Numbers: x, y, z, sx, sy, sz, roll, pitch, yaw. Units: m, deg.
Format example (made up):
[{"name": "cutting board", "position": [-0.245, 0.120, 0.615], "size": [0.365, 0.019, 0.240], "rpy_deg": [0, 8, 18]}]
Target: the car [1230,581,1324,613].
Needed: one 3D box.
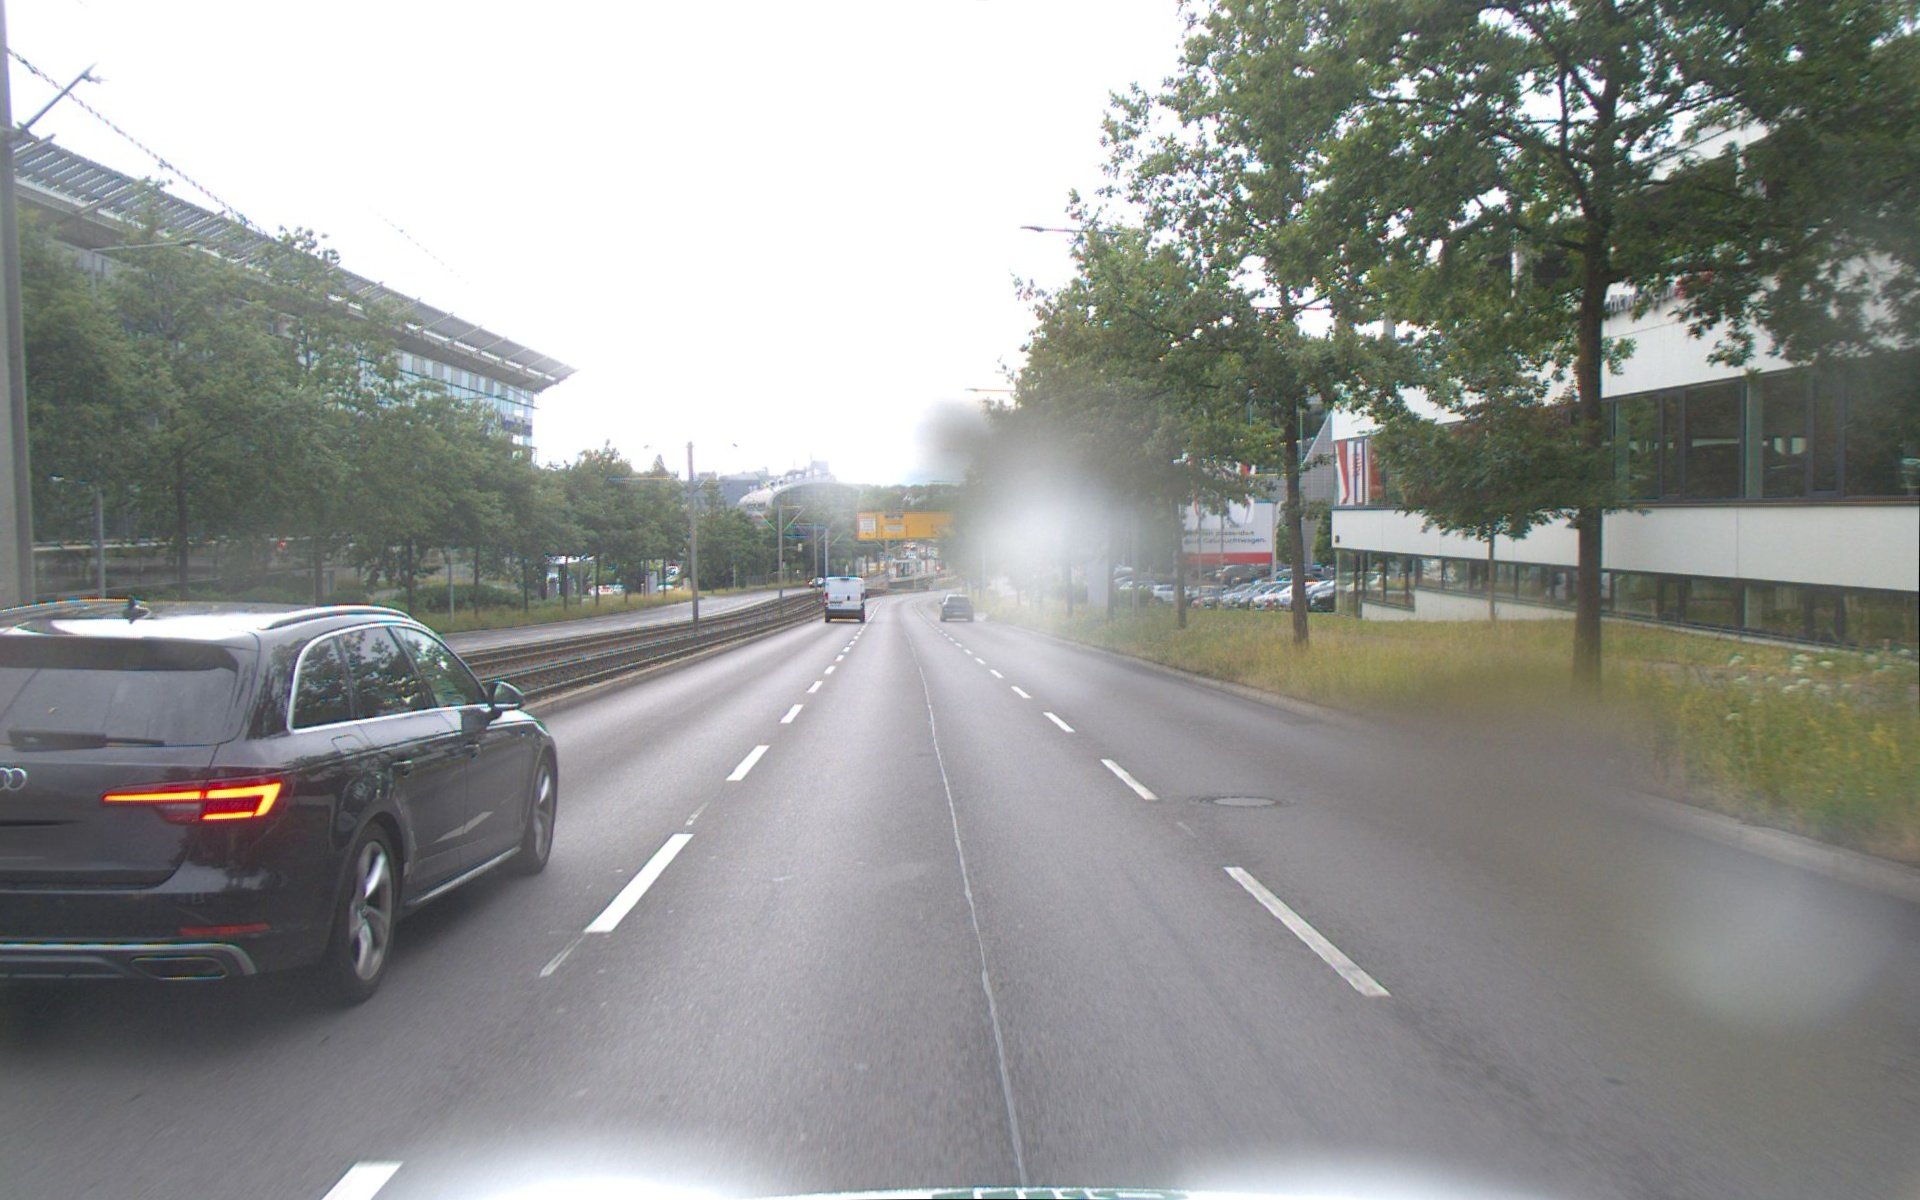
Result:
[{"name": "car", "position": [16.173, -0.158, 84.528], "size": [4.373, 1.481, 1.930], "rpy_deg": [-2, 0, -4]}]

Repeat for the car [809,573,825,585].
[{"name": "car", "position": [-20.298, -2.921, 234.450], "size": [1.844, 1.547, 4.403], "rpy_deg": [-3, 1, 0]}]

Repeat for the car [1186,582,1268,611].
[{"name": "car", "position": [15.522, -0.197, 96.230], "size": [4.377, 1.578, 1.928], "rpy_deg": [-1, 0, -8]}]

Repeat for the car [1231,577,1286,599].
[{"name": "car", "position": [23.975, -0.968, 132.891], "size": [4.024, 1.601, 1.691], "rpy_deg": [-1, 2, -4]}]

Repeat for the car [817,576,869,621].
[{"name": "car", "position": [-5.970, -0.054, 84.950], "size": [2.460, 2.215, 5.147], "rpy_deg": [1, 0, -2]}]

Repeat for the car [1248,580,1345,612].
[{"name": "car", "position": [16.560, -0.193, 81.515], "size": [4.373, 1.481, 1.930], "rpy_deg": [-1, 0, -4]}]

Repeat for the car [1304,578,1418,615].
[{"name": "car", "position": [16.783, -0.143, 69.316], "size": [4.235, 1.402, 1.835], "rpy_deg": [-2, 0, -5]}]

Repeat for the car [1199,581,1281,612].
[{"name": "car", "position": [15.759, -0.197, 93.153], "size": [4.193, 1.621, 1.825], "rpy_deg": [-1, 0, -5]}]

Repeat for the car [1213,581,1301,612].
[{"name": "car", "position": [16.196, -0.188, 90.317], "size": [4.373, 1.578, 1.930], "rpy_deg": [-2, 0, -4]}]

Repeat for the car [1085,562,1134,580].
[{"name": "car", "position": [13.334, -2.614, 147.967], "size": [4.175, 1.601, 1.691], "rpy_deg": [0, 1, -4]}]

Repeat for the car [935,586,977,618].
[{"name": "car", "position": [-0.247, 0.116, 90.037], "size": [1.982, 1.651, 3.996], "rpy_deg": [1, 0, -5]}]

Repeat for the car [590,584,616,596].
[{"name": "car", "position": [-47.698, -1.314, 220.949], "size": [1.976, 1.536, 3.953], "rpy_deg": [1, 0, -34]}]

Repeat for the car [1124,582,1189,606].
[{"name": "car", "position": [13.340, -0.387, 112.233], "size": [4.032, 1.622, 1.943], "rpy_deg": [0, -1, -11]}]

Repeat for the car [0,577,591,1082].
[{"name": "car", "position": [-2.965, 0.667, 7.259], "size": [1.728, 1.489, 4.625], "rpy_deg": [1, 0, -1]}]

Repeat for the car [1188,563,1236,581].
[{"name": "car", "position": [22.627, -2.546, 148.487], "size": [4.024, 1.601, 1.691], "rpy_deg": [0, 1, -4]}]

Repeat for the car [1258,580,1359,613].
[{"name": "car", "position": [16.501, -0.153, 78.366], "size": [4.310, 1.372, 1.929], "rpy_deg": [-2, -1, -4]}]

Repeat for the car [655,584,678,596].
[{"name": "car", "position": [-39.931, -1.385, 224.638], "size": [1.970, 1.536, 3.964], "rpy_deg": [1, 0, -28]}]

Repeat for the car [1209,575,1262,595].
[{"name": "car", "position": [22.557, -1.250, 135.414], "size": [4.024, 1.601, 1.825], "rpy_deg": [0, 1, -4]}]

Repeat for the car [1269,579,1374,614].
[{"name": "car", "position": [16.443, -0.177, 75.418], "size": [4.309, 1.452, 1.889], "rpy_deg": [-2, 0, -3]}]

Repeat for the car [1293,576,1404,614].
[{"name": "car", "position": [17.015, -0.208, 72.543], "size": [4.309, 1.527, 2.039], "rpy_deg": [-2, 0, -3]}]

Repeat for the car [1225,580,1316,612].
[{"name": "car", "position": [16.366, -0.207, 87.341], "size": [4.373, 1.555, 1.930], "rpy_deg": [-2, 0, -4]}]
